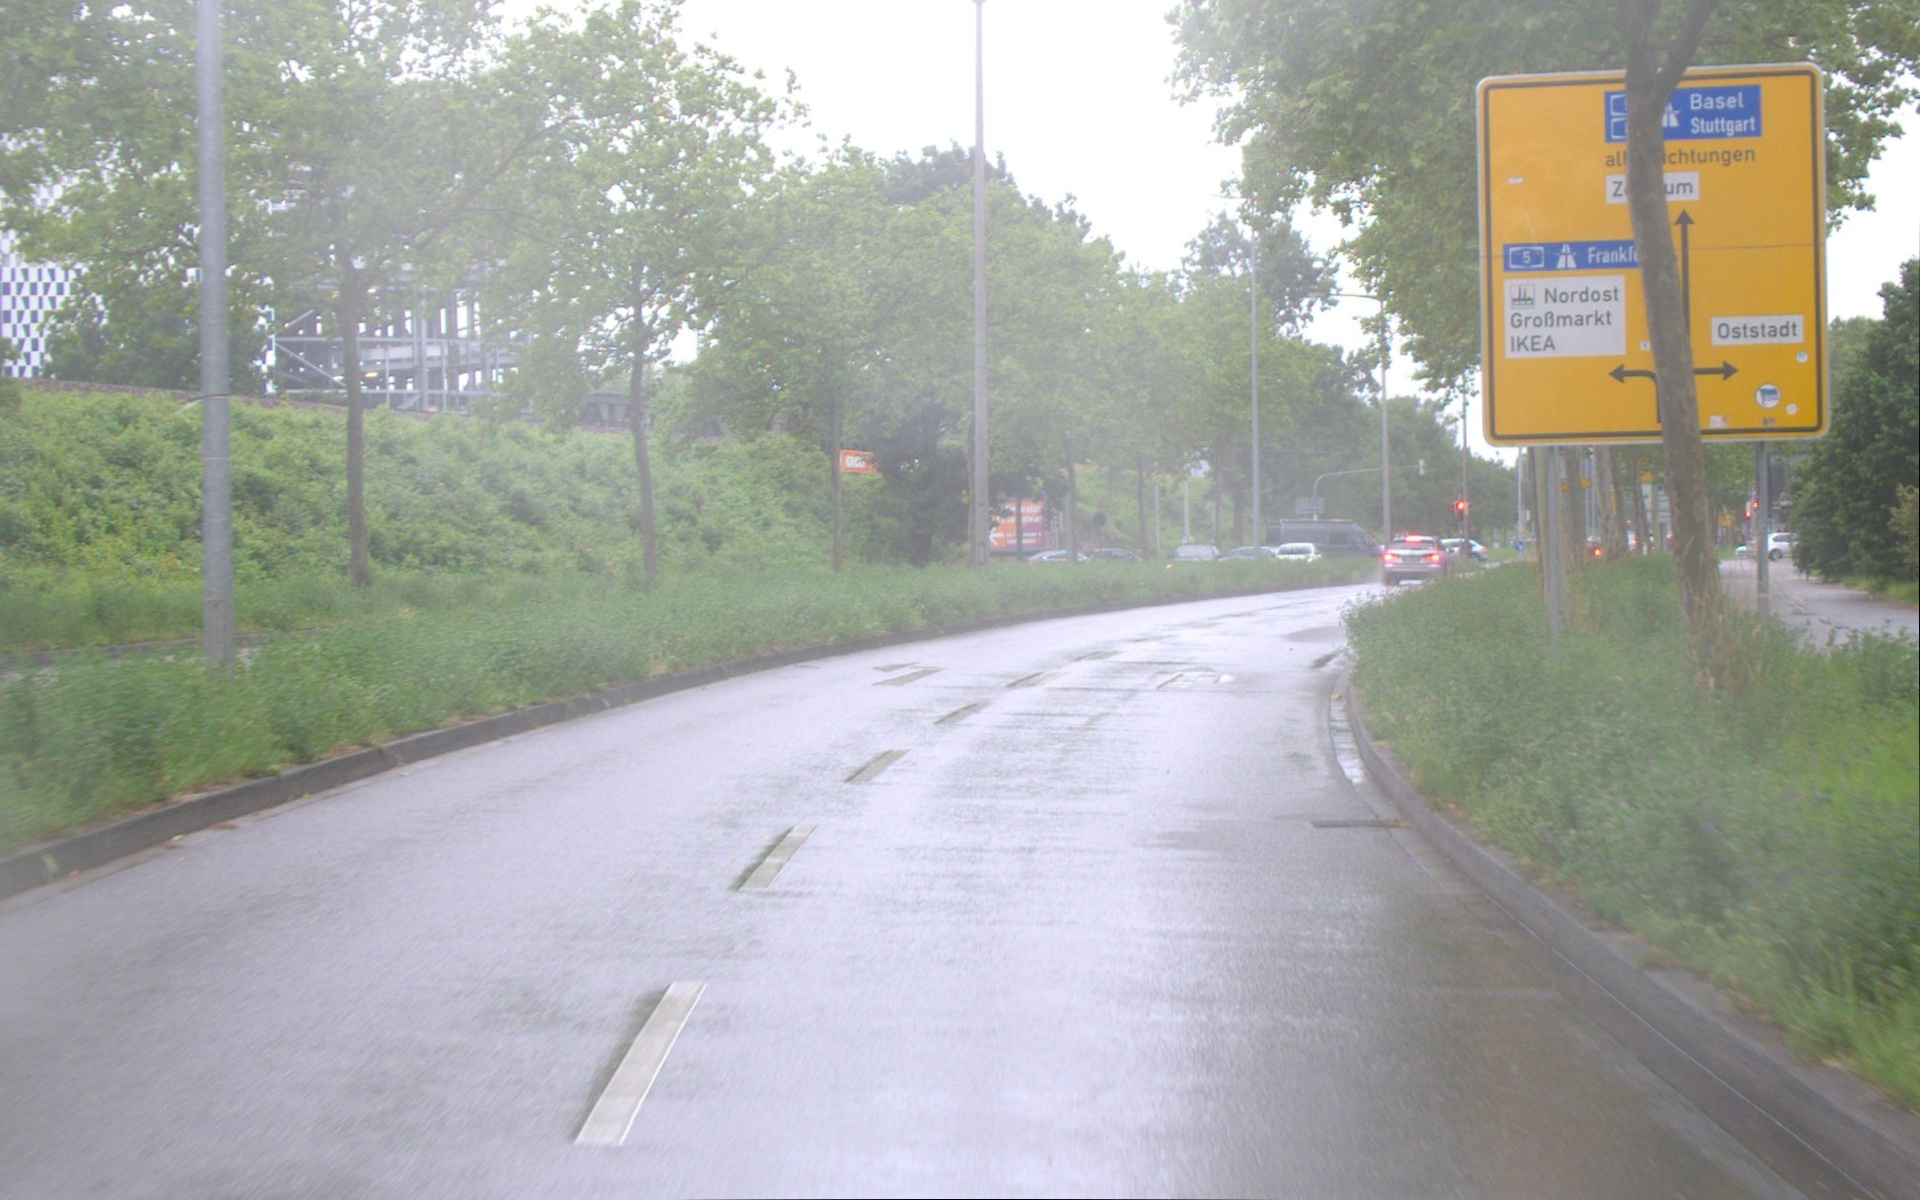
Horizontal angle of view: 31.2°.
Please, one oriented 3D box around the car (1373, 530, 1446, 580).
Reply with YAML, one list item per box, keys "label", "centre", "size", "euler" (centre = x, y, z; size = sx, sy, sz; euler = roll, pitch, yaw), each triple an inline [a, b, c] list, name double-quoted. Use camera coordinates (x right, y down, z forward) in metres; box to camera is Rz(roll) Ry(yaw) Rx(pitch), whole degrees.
- label: "car"
  centre: [13.301, -1.326, 101.563]
  size: [1.691, 1.428, 4.571]
  euler: [0, 1, 13]
